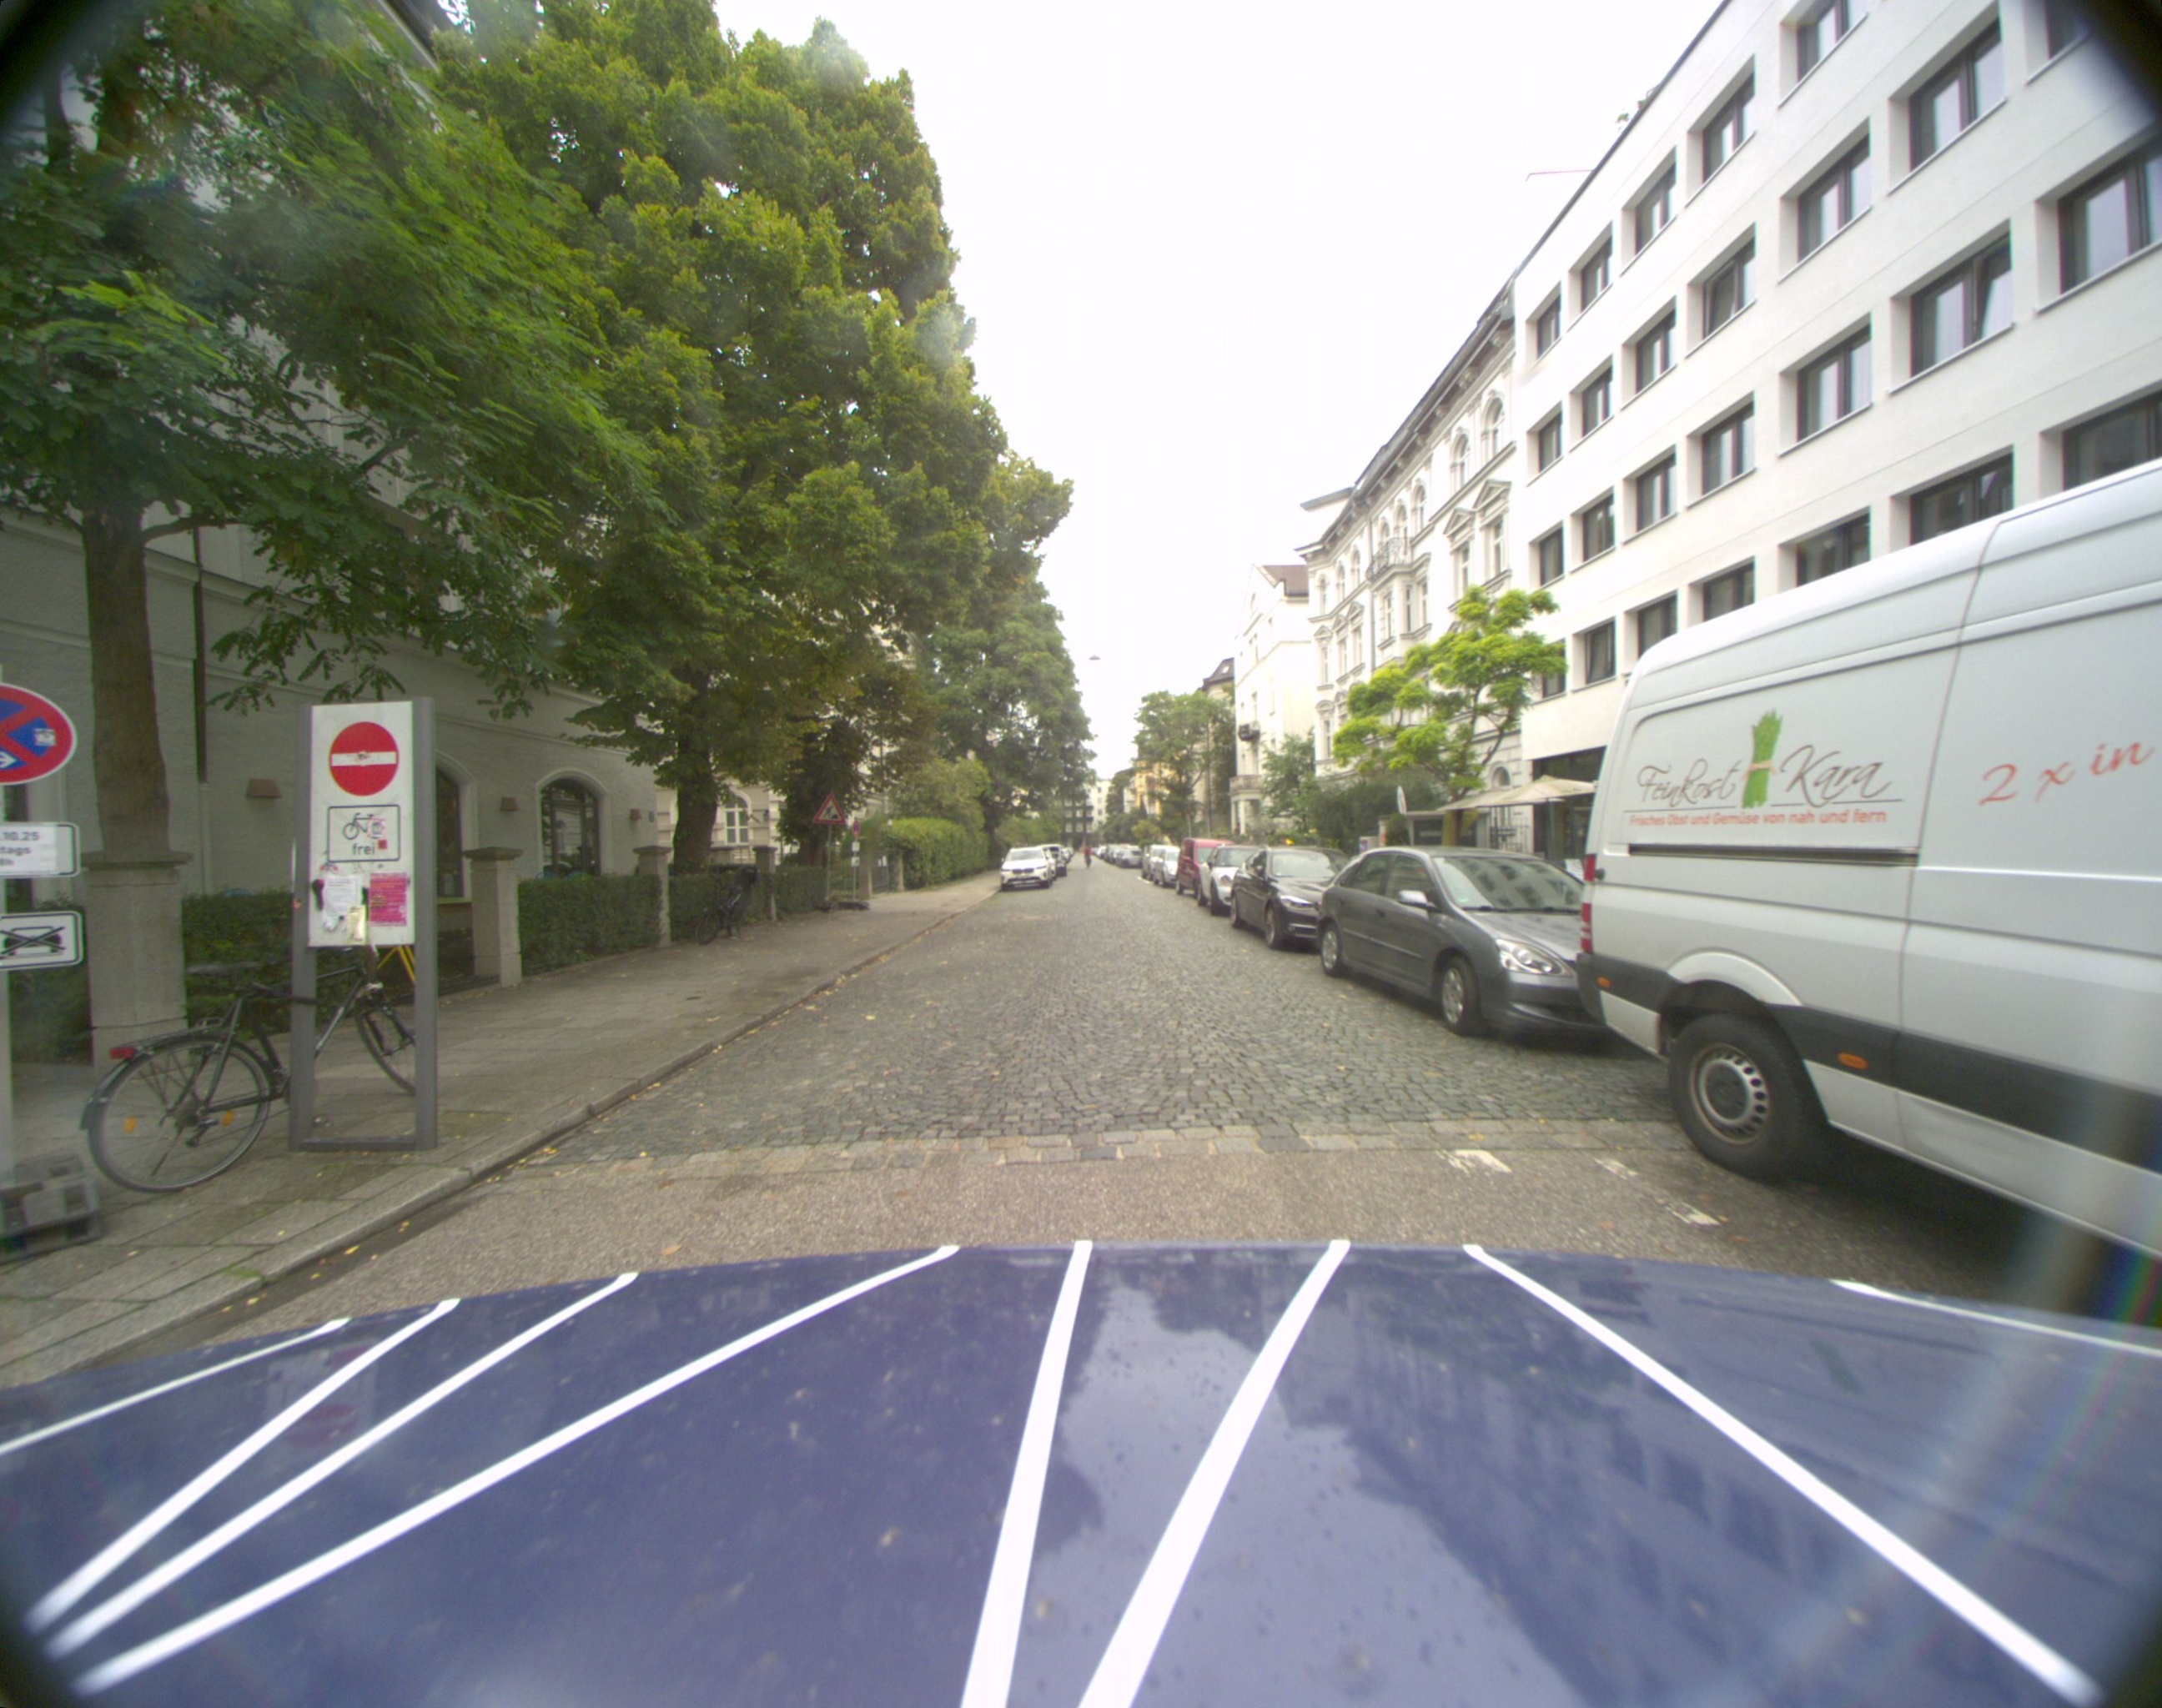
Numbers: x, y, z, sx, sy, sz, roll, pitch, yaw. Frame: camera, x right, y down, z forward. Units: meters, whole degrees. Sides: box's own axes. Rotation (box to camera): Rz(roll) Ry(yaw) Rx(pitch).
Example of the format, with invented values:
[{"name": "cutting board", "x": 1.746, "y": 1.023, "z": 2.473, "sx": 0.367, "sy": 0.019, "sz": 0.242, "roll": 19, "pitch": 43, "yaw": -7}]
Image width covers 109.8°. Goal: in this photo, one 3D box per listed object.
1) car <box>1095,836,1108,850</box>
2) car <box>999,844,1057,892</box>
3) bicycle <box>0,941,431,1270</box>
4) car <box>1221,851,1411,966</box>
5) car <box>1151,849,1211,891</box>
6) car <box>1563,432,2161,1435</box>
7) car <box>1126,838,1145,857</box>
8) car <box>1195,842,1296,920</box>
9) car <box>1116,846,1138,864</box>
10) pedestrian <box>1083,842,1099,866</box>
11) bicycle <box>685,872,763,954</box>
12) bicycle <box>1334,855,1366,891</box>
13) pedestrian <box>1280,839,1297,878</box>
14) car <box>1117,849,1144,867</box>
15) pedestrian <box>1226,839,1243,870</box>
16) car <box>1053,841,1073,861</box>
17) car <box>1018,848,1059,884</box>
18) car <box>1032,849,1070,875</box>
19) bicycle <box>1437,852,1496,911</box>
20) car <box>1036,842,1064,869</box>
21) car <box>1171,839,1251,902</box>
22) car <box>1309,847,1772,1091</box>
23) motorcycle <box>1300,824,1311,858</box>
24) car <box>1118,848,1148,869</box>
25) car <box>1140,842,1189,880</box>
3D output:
[{"name": "car", "x": 3.074, "y": -1.575, "z": 112.147, "sx": 1.791, "sy": 2.002, "sz": 3.214, "roll": -2, "pitch": 1, "yaw": 1}, {"name": "car", "x": -2.051, "y": 0.500, "z": 30.924, "sx": 1.925, "sy": 1.676, "sz": 4.632, "roll": -2, "pitch": 2, "yaw": 1}, {"name": "bicycle", "x": -4.322, "y": 1.127, "z": 3.918, "sx": 0.389, "sy": 1.140, "sz": 1.590, "roll": -1, "pitch": 2, "yaw": 7}, {"name": "car", "x": 3.537, "y": 0.722, "z": 12.335, "sx": 1.730, "sy": 1.456, "sz": 4.472, "roll": 1, "pitch": 1, "yaw": 1}, {"name": "car", "x": 3.734, "y": 0.546, "z": 28.957, "sx": 1.635, "sy": 1.386, "sz": 3.814, "roll": -2, "pitch": 1, "yaw": -1}, {"name": "car", "x": 3.745, "y": 0.217, "z": 1.451, "sx": 1.982, "sy": 2.559, "sz": 5.793, "roll": 0, "pitch": 1, "yaw": 1}, {"name": "car", "x": 6.070, "y": -0.723, "z": 84.637, "sx": 1.763, "sy": 2.002, "sz": 3.999, "roll": -2, "pitch": 1, "yaw": 1}, {"name": "car", "x": 3.637, "y": 0.526, "z": 17.373, "sx": 1.697, "sy": 1.495, "sz": 3.777, "roll": -2, "pitch": 1, "yaw": 4}, {"name": "car", "x": 4.023, "y": 0.068, "z": 67.538, "sx": 1.714, "sy": 1.417, "sz": 3.999, "roll": -2, "pitch": 1, "yaw": 1}, {"name": "pedestrian", "x": 0.730, "y": 0.000, "z": 56.568, "sx": 1.105, "sy": 1.768, "sz": 1.263, "roll": -2, "pitch": 2, "yaw": 1}, {"name": "bicycle", "x": -6.002, "y": 0.951, "z": 12.851, "sx": 0.428, "sy": 1.191, "sz": 1.730, "roll": 4, "pitch": 2, "yaw": 1}, {"name": "bicycle", "x": 8.363, "y": 0.561, "z": 23.670, "sx": 0.258, "sy": 1.072, "sz": 1.685, "roll": -2, "pitch": 0, "yaw": -4}, {"name": "pedestrian", "x": 8.661, "y": 0.185, "z": 31.682, "sx": 0.577, "sy": 1.637, "sz": 0.822, "roll": 0, "pitch": 1, "yaw": 7}, {"name": "car", "x": 4.020, "y": 0.332, "z": 62.048, "sx": 1.998, "sy": 1.324, "sz": 3.999, "roll": -2, "pitch": 1, "yaw": 1}, {"name": "pedestrian", "x": 8.264, "y": 0.031, "z": 40.868, "sx": 0.665, "sy": 1.618, "sz": 0.670, "roll": -1, "pitch": 2, "yaw": 32}, {"name": "car", "x": -1.936, "y": -0.351, "z": 82.746, "sx": 1.998, "sy": 2.002, "sz": 3.999, "roll": -2, "pitch": 1, "yaw": 1}, {"name": "car", "x": -2.050, "y": 0.549, "z": 37.907, "sx": 1.752, "sy": 1.591, "sz": 4.470, "roll": -2, "pitch": 1, "yaw": 0}, {"name": "car", "x": -1.643, "y": 0.417, "z": 42.910, "sx": 1.924, "sy": 1.291, "sz": 4.807, "roll": -2, "pitch": 1, "yaw": 0}, {"name": "bicycle", "x": 8.261, "y": 0.556, "z": 16.358, "sx": 0.361, "sy": 1.168, "sz": 1.911, "roll": -2, "pitch": 1, "yaw": 2}, {"name": "car", "x": -2.237, "y": 0.064, "z": 55.813, "sx": 1.819, "sy": 1.809, "sz": 4.807, "roll": -3, "pitch": 1, "yaw": -1}, {"name": "car", "x": 3.805, "y": 0.423, "z": 22.853, "sx": 1.722, "sy": 1.713, "sz": 3.897, "roll": 0, "pitch": 1, "yaw": 0}, {"name": "car", "x": 3.565, "y": 0.718, "z": 6.873, "sx": 1.666, "sy": 1.474, "sz": 3.980, "roll": -2, "pitch": 1, "yaw": -2}, {"name": "motorcycle", "x": 8.116, "y": -0.476, "z": 27.474, "sx": 0.331, "sy": 1.173, "sz": 1.626, "roll": -1, "pitch": 2, "yaw": 16}, {"name": "car", "x": 3.853, "y": 0.286, "z": 57.101, "sx": 1.886, "sy": 1.411, "sz": 4.807, "roll": 0, "pitch": 1, "yaw": -1}, {"name": "car", "x": 3.812, "y": 0.268, "z": 35.283, "sx": 1.694, "sy": 1.563, "sz": 4.066, "roll": -2, "pitch": 1, "yaw": -1}]
